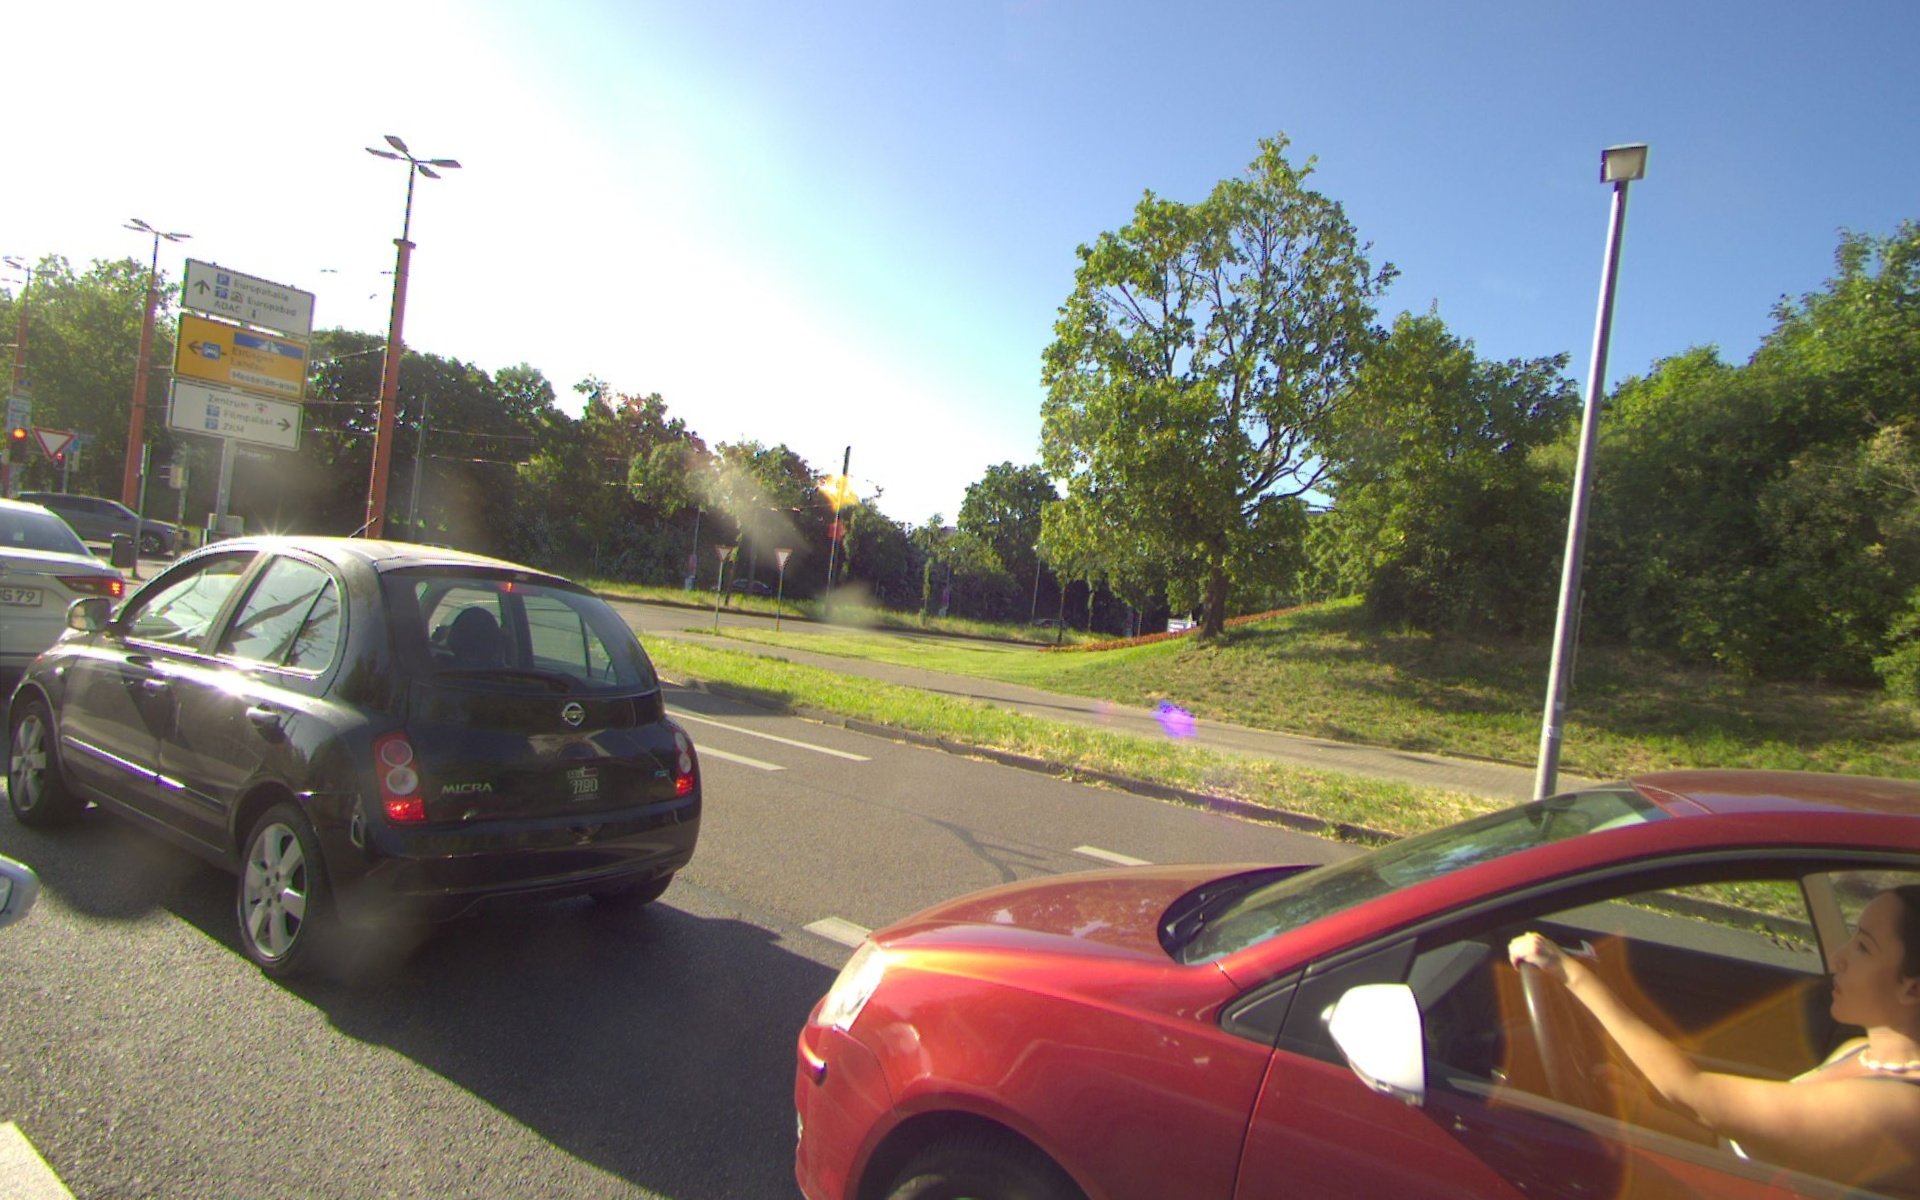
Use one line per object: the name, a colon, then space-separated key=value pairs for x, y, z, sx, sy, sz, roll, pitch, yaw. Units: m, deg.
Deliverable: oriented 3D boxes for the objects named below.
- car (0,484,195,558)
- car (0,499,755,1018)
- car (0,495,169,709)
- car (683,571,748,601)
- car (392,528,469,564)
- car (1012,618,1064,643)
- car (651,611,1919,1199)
car: x=-28.567 y=-2.556 z=33.491 sx=4.592 sy=1.666 sz=1.645 roll=8 pitch=-1 yaw=-29
car: x=-2.813 y=0.465 z=4.624 sx=3.385 sy=1.457 sz=1.579 roll=6 pitch=-2 yaw=32
car: x=-8.385 y=-0.178 z=8.078 sx=4.256 sy=1.457 sz=1.802 roll=6 pitch=-2 yaw=33
car: x=-16.317 y=-0.912 z=67.285 sx=3.774 sy=1.419 sz=1.639 roll=9 pitch=-1 yaw=-38
car: x=-30.922 y=-3.130 z=58.747 sx=3.764 sy=1.528 sz=1.644 roll=8 pitch=-1 yaw=-31
car: x=6.010 y=2.354 z=77.609 sx=3.774 sy=1.419 sz=1.639 roll=9 pitch=-1 yaw=-38
car: x=1.330 y=1.000 z=1.868 sx=3.629 sy=1.477 sz=1.579 roll=6 pitch=-2 yaw=32
